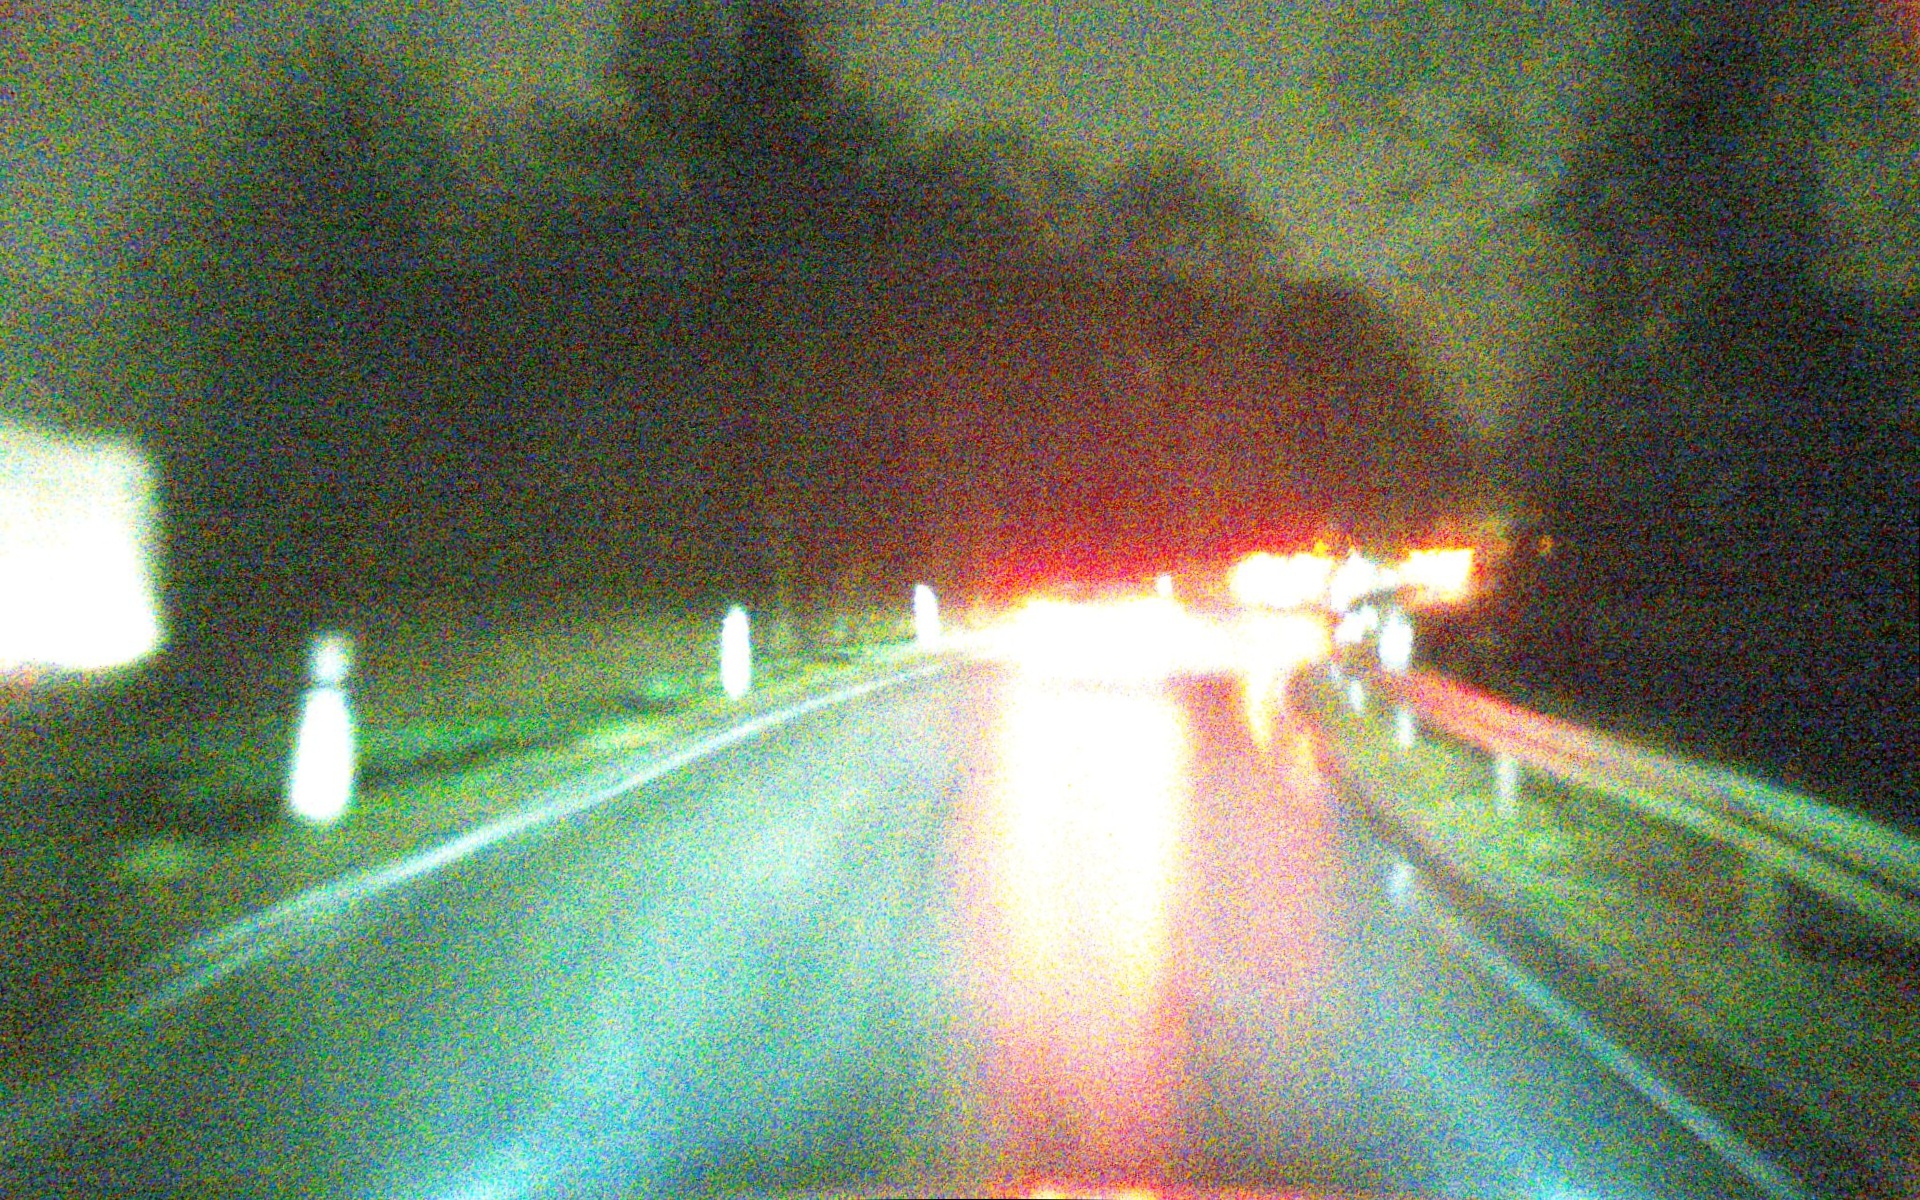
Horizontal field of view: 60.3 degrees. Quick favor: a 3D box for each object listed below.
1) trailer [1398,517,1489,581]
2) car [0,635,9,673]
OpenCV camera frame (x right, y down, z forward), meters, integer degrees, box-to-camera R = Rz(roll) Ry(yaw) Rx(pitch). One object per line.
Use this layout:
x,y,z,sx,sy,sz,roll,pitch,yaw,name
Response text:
18.965,-1.894,64.496,2.036,2.049,10.643,-3,-1,23,trailer
-39.534,2.218,66.110,1.742,1.543,4.886,-2,-1,-20,car
